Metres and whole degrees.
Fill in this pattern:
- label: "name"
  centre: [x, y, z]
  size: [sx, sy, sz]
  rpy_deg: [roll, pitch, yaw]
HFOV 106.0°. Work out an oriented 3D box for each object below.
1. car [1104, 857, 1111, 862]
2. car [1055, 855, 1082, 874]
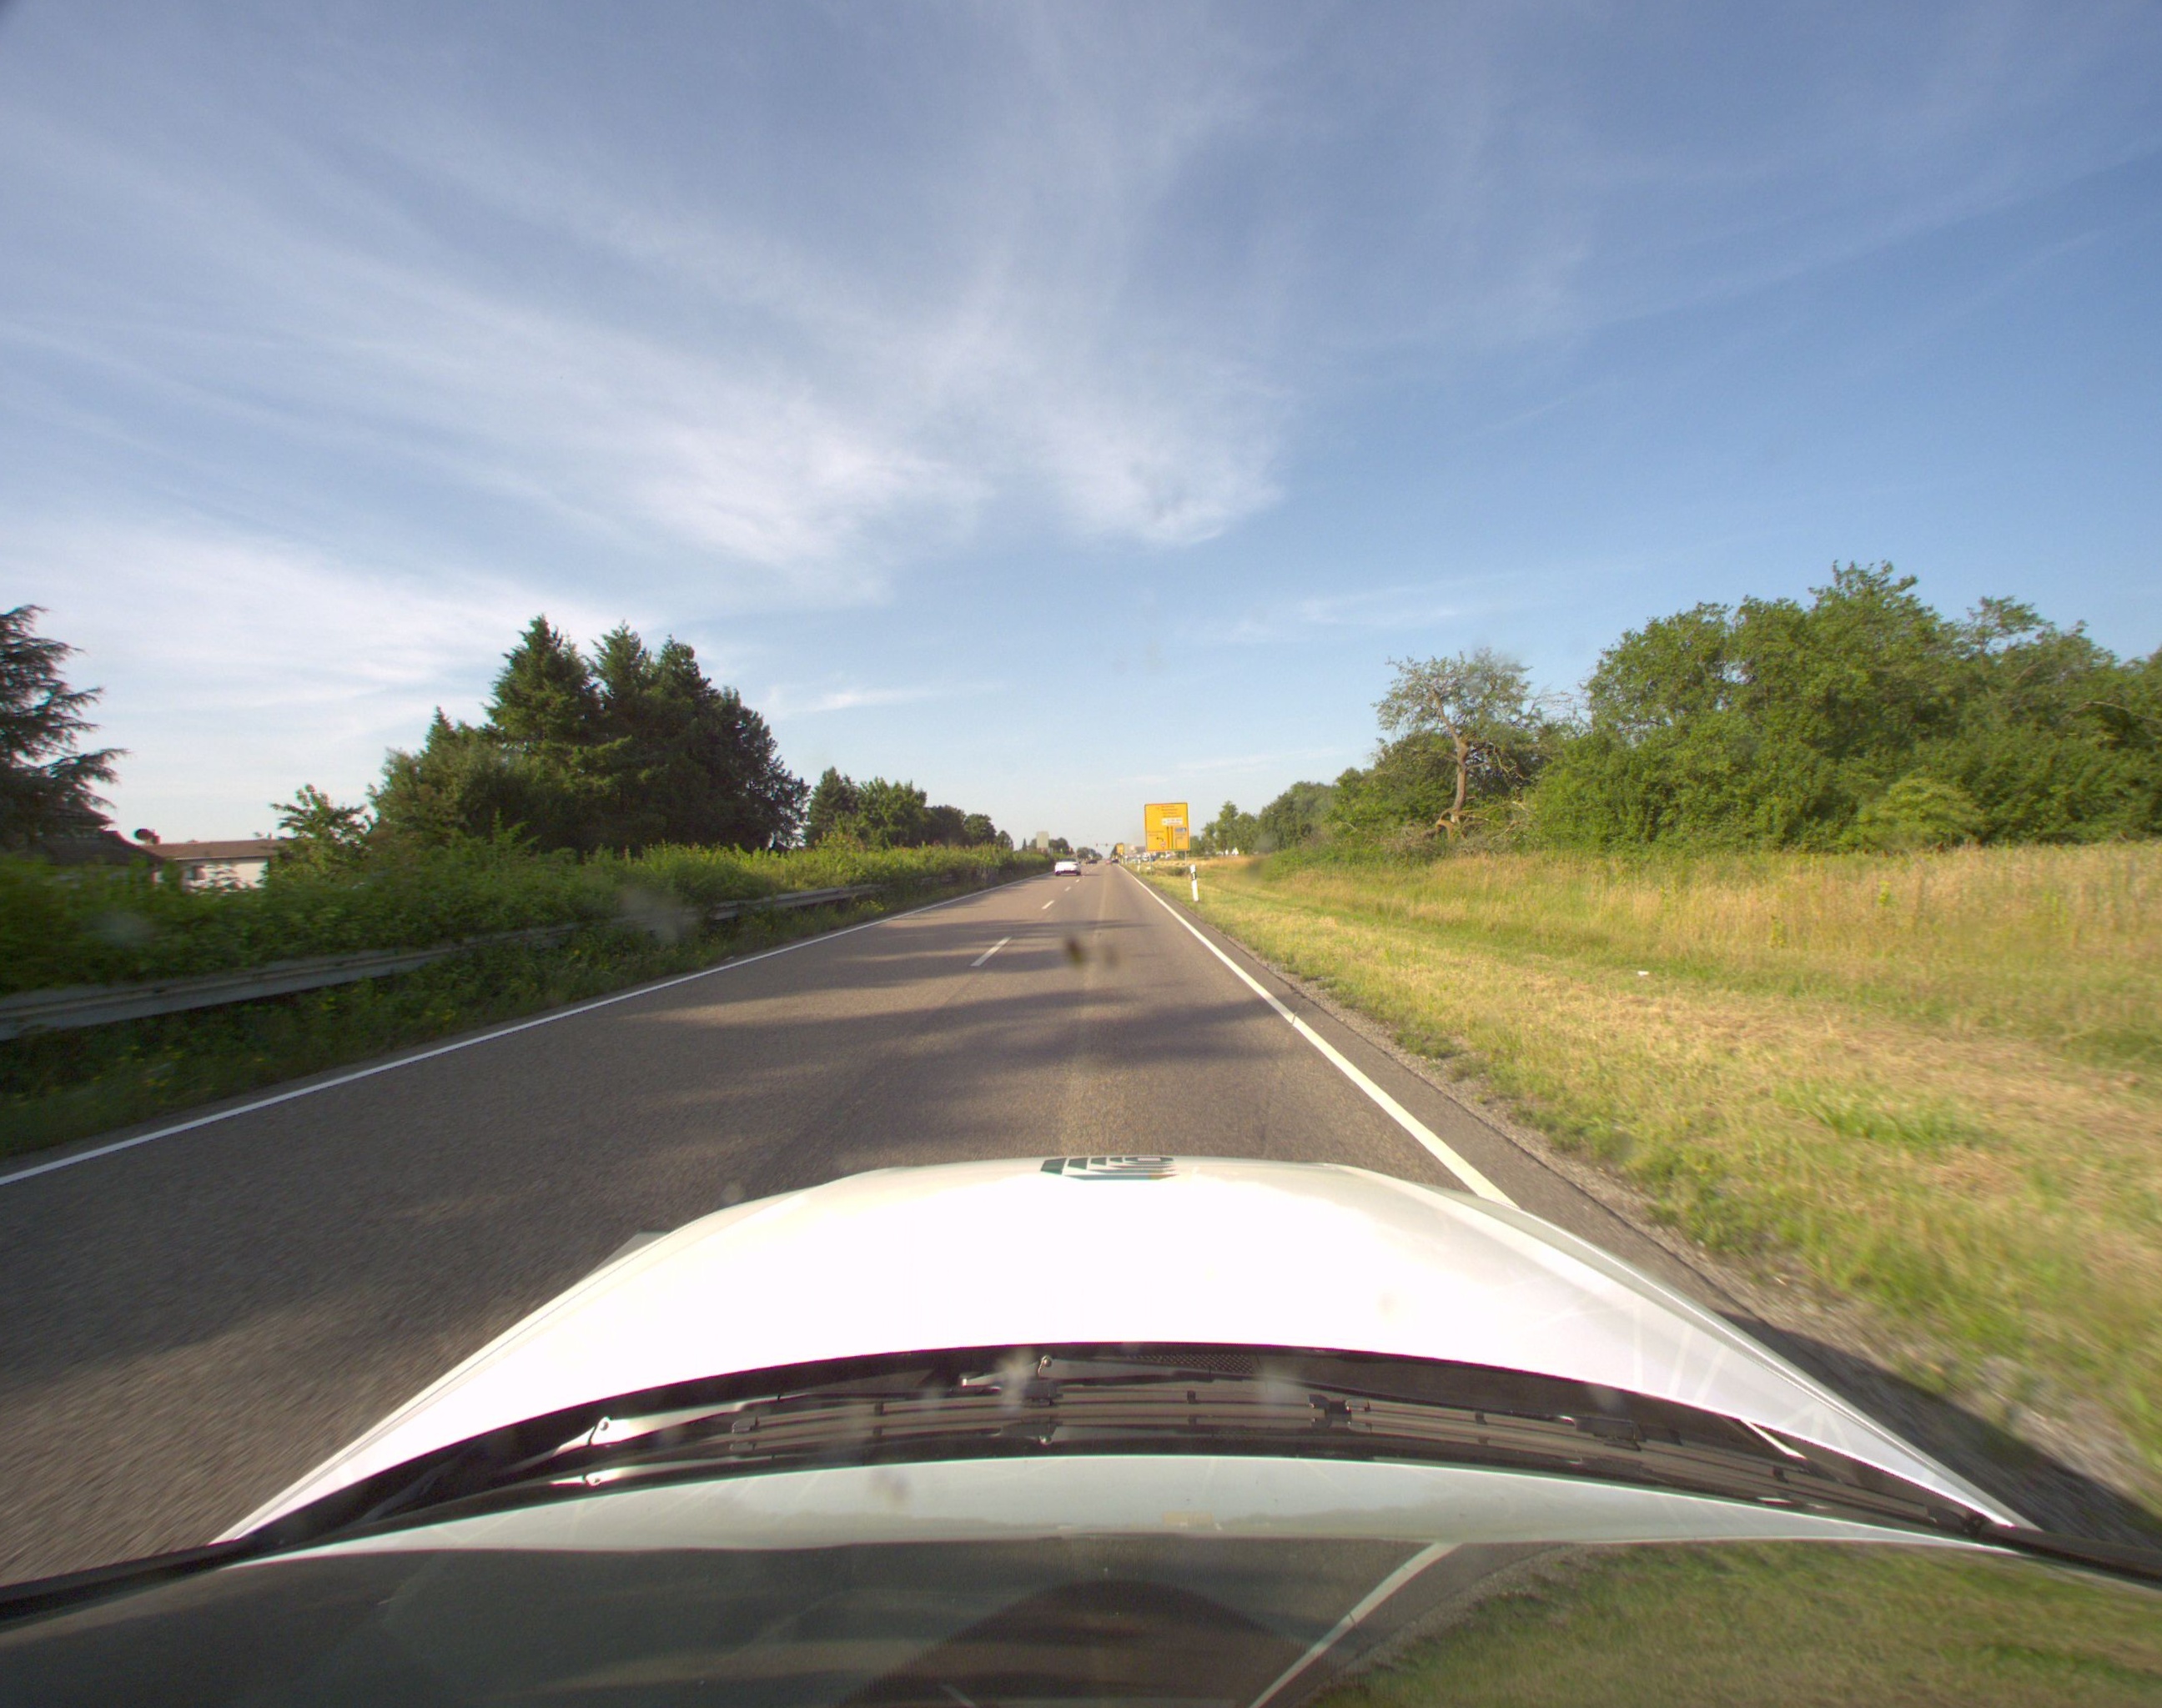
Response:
- label: "car"
  centre: [8.002, 1.551, 242.625]
  size: [1.986, 1.486, 4.001]
  rpy_deg: [-1, 0, 1]
- label: "car"
  centre: [-0.951, 0.771, 62.224]
  size: [1.903, 1.422, 4.001]
  rpy_deg: [-1, 0, 1]
